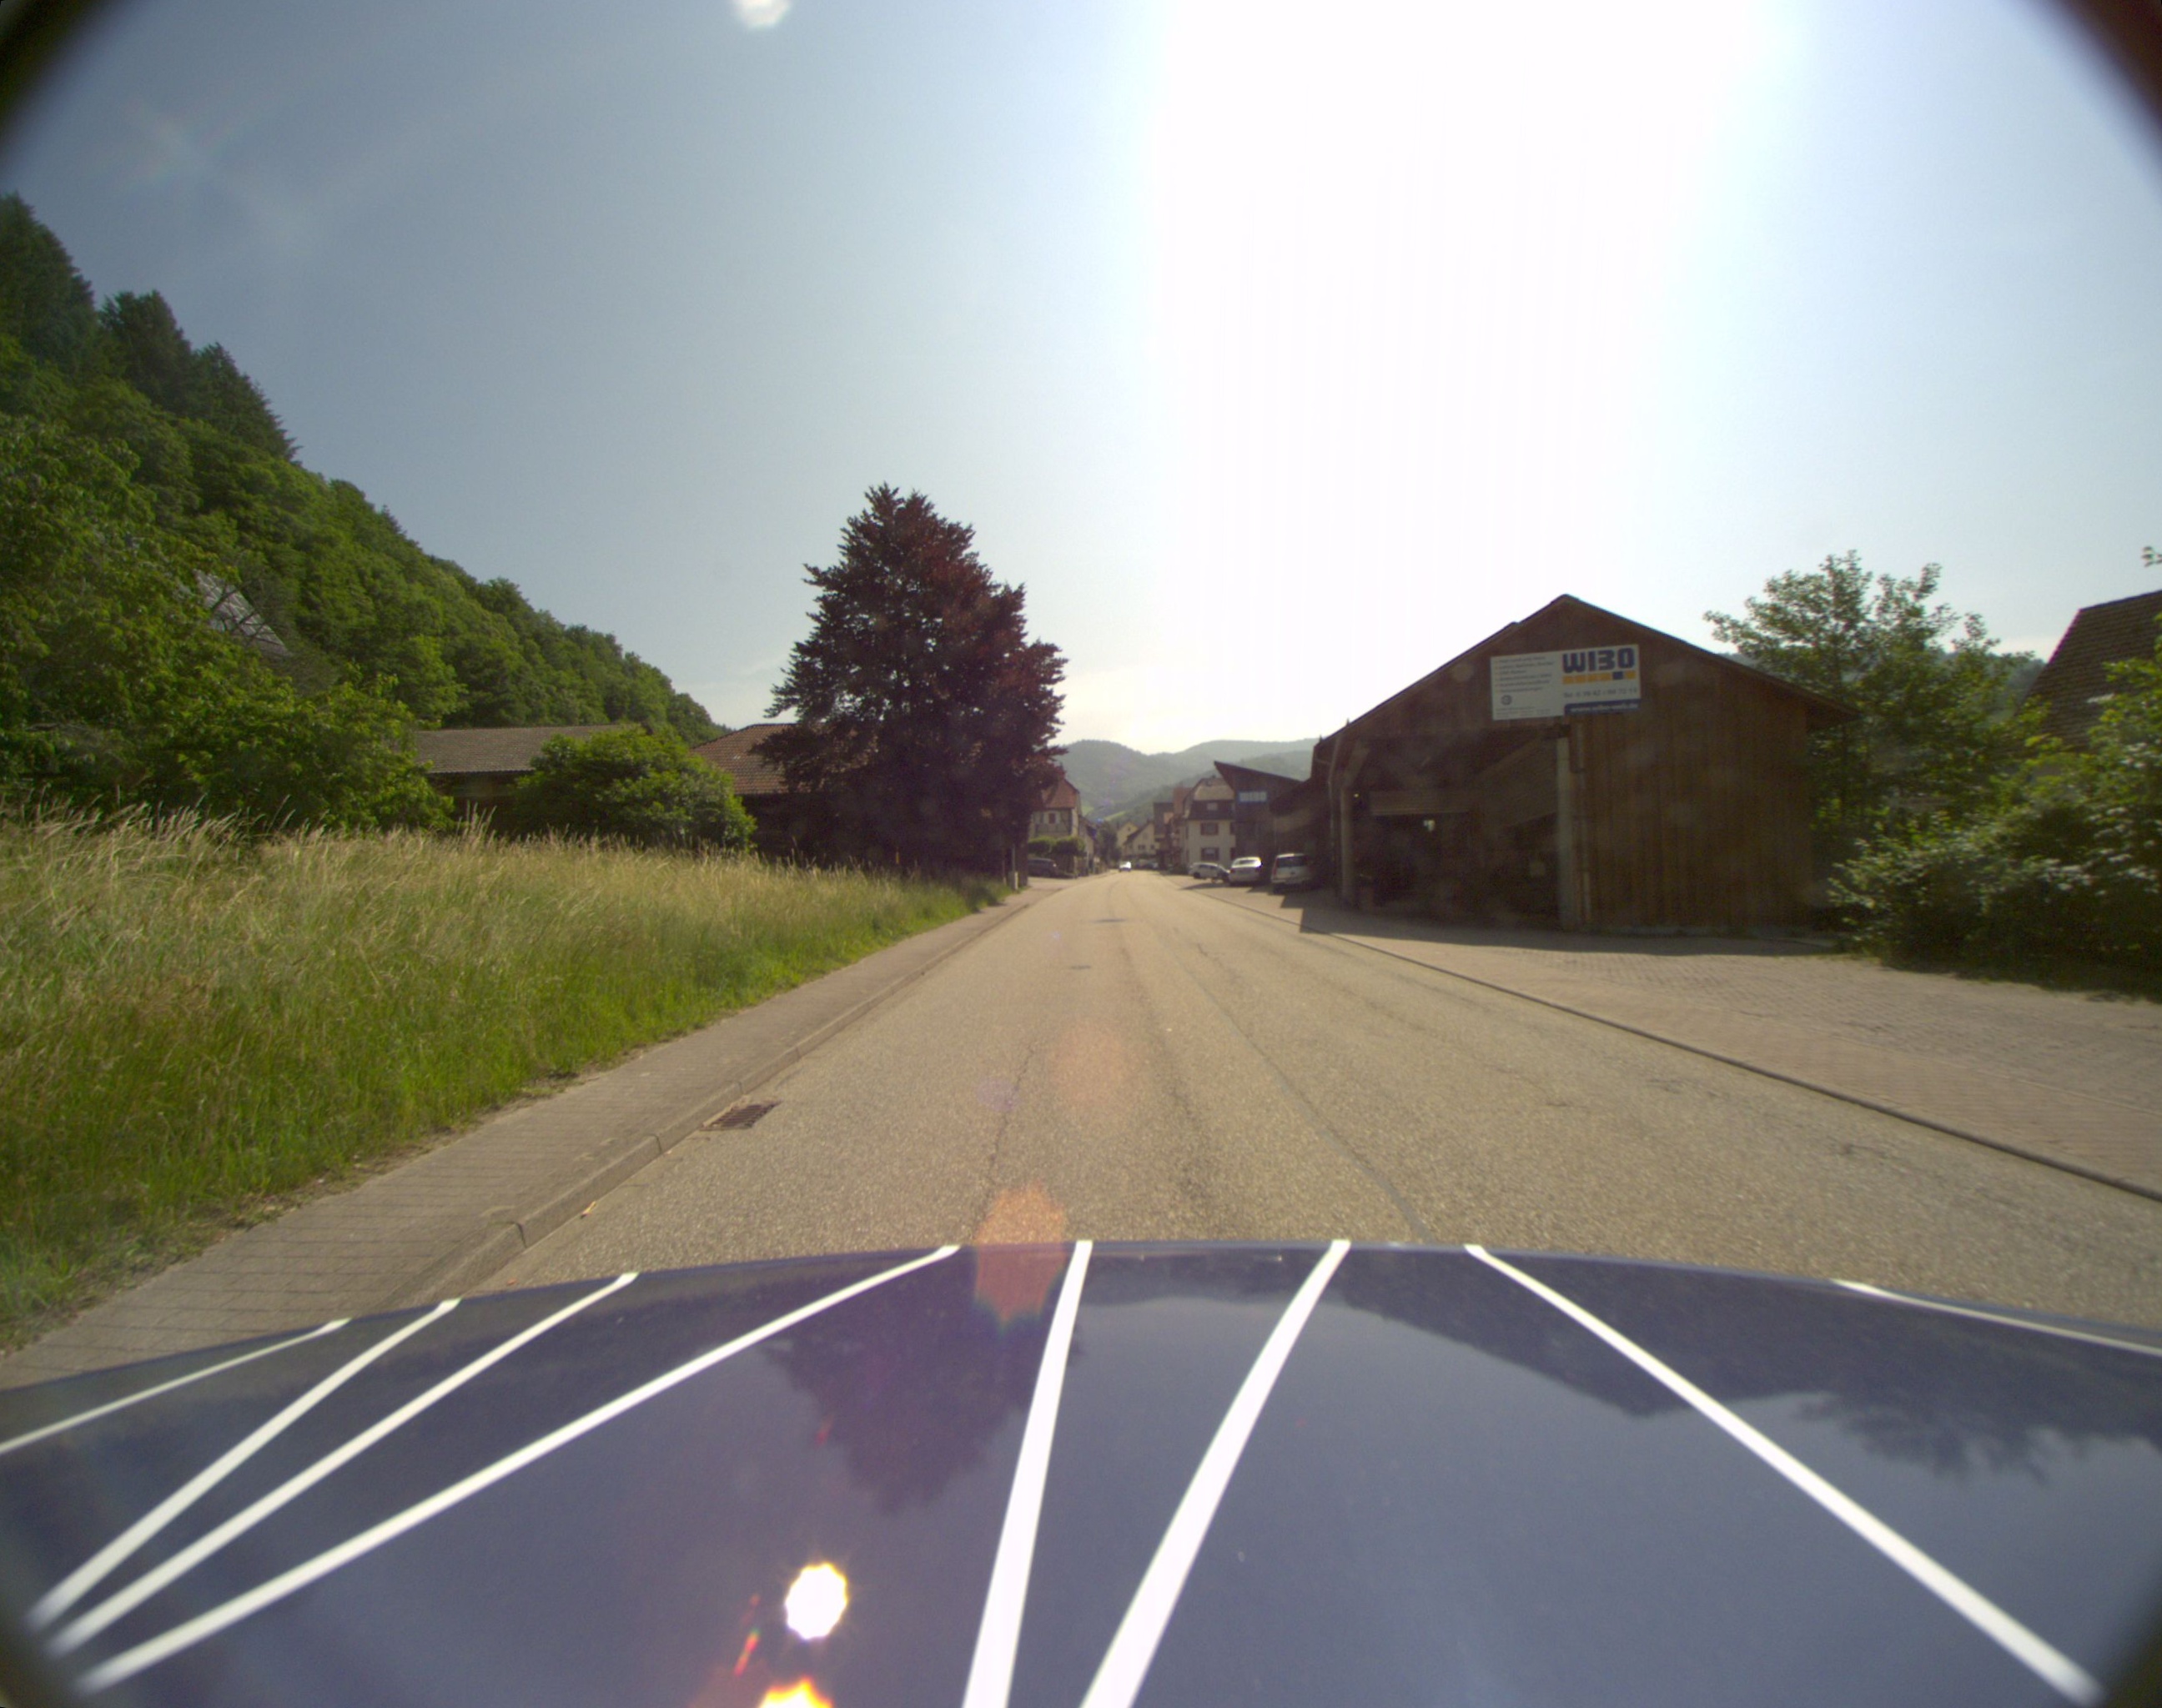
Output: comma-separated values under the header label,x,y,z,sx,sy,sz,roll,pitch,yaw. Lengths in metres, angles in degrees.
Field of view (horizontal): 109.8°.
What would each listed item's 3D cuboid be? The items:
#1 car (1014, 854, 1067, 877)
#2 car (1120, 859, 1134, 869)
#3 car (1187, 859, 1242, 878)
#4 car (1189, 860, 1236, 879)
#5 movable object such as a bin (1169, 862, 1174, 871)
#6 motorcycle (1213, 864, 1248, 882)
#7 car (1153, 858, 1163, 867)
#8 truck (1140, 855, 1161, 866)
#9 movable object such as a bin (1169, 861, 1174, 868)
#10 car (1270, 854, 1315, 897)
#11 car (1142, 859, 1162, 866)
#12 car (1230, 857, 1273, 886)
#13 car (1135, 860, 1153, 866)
label,x,y,z,sx,sy,sz,roll,pitch,yaw
car,-3.538,0.960,65.987,4.228,1.677,1.778,4,0,8
car,8.082,1.784,133.069,1.999,1.672,3.999,0,0,-3
car,11.883,1.319,67.699,4.431,1.466,1.929,3,0,31
car,11.303,1.290,65.200,3.662,1.377,1.713,3,1,20
movable object such as a bin,11.644,1.592,97.711,0.677,1.060,0.621,-1,0,3
motorcycle,10.780,1.356,54.798,2.412,1.256,0.744,0,0,15
car,15.207,1.676,150.445,1.774,1.544,4.286,-2,-1,2
truck,14.876,1.425,163.020,4.176,2.253,2.000,-2,0,-1
movable object such as a bin,13.982,1.636,117.505,0.719,1.174,0.598,1,0,6
car,8.765,0.858,31.423,1.583,1.560,4.028,-4,-1,17
car,14.812,1.802,158.043,4.104,1.494,1.754,-1,0,3
car,9.099,0.921,40.310,1.731,1.445,4.812,-2,-1,19
car,13.825,1.971,166.998,3.997,1.444,1.628,1,0,1
